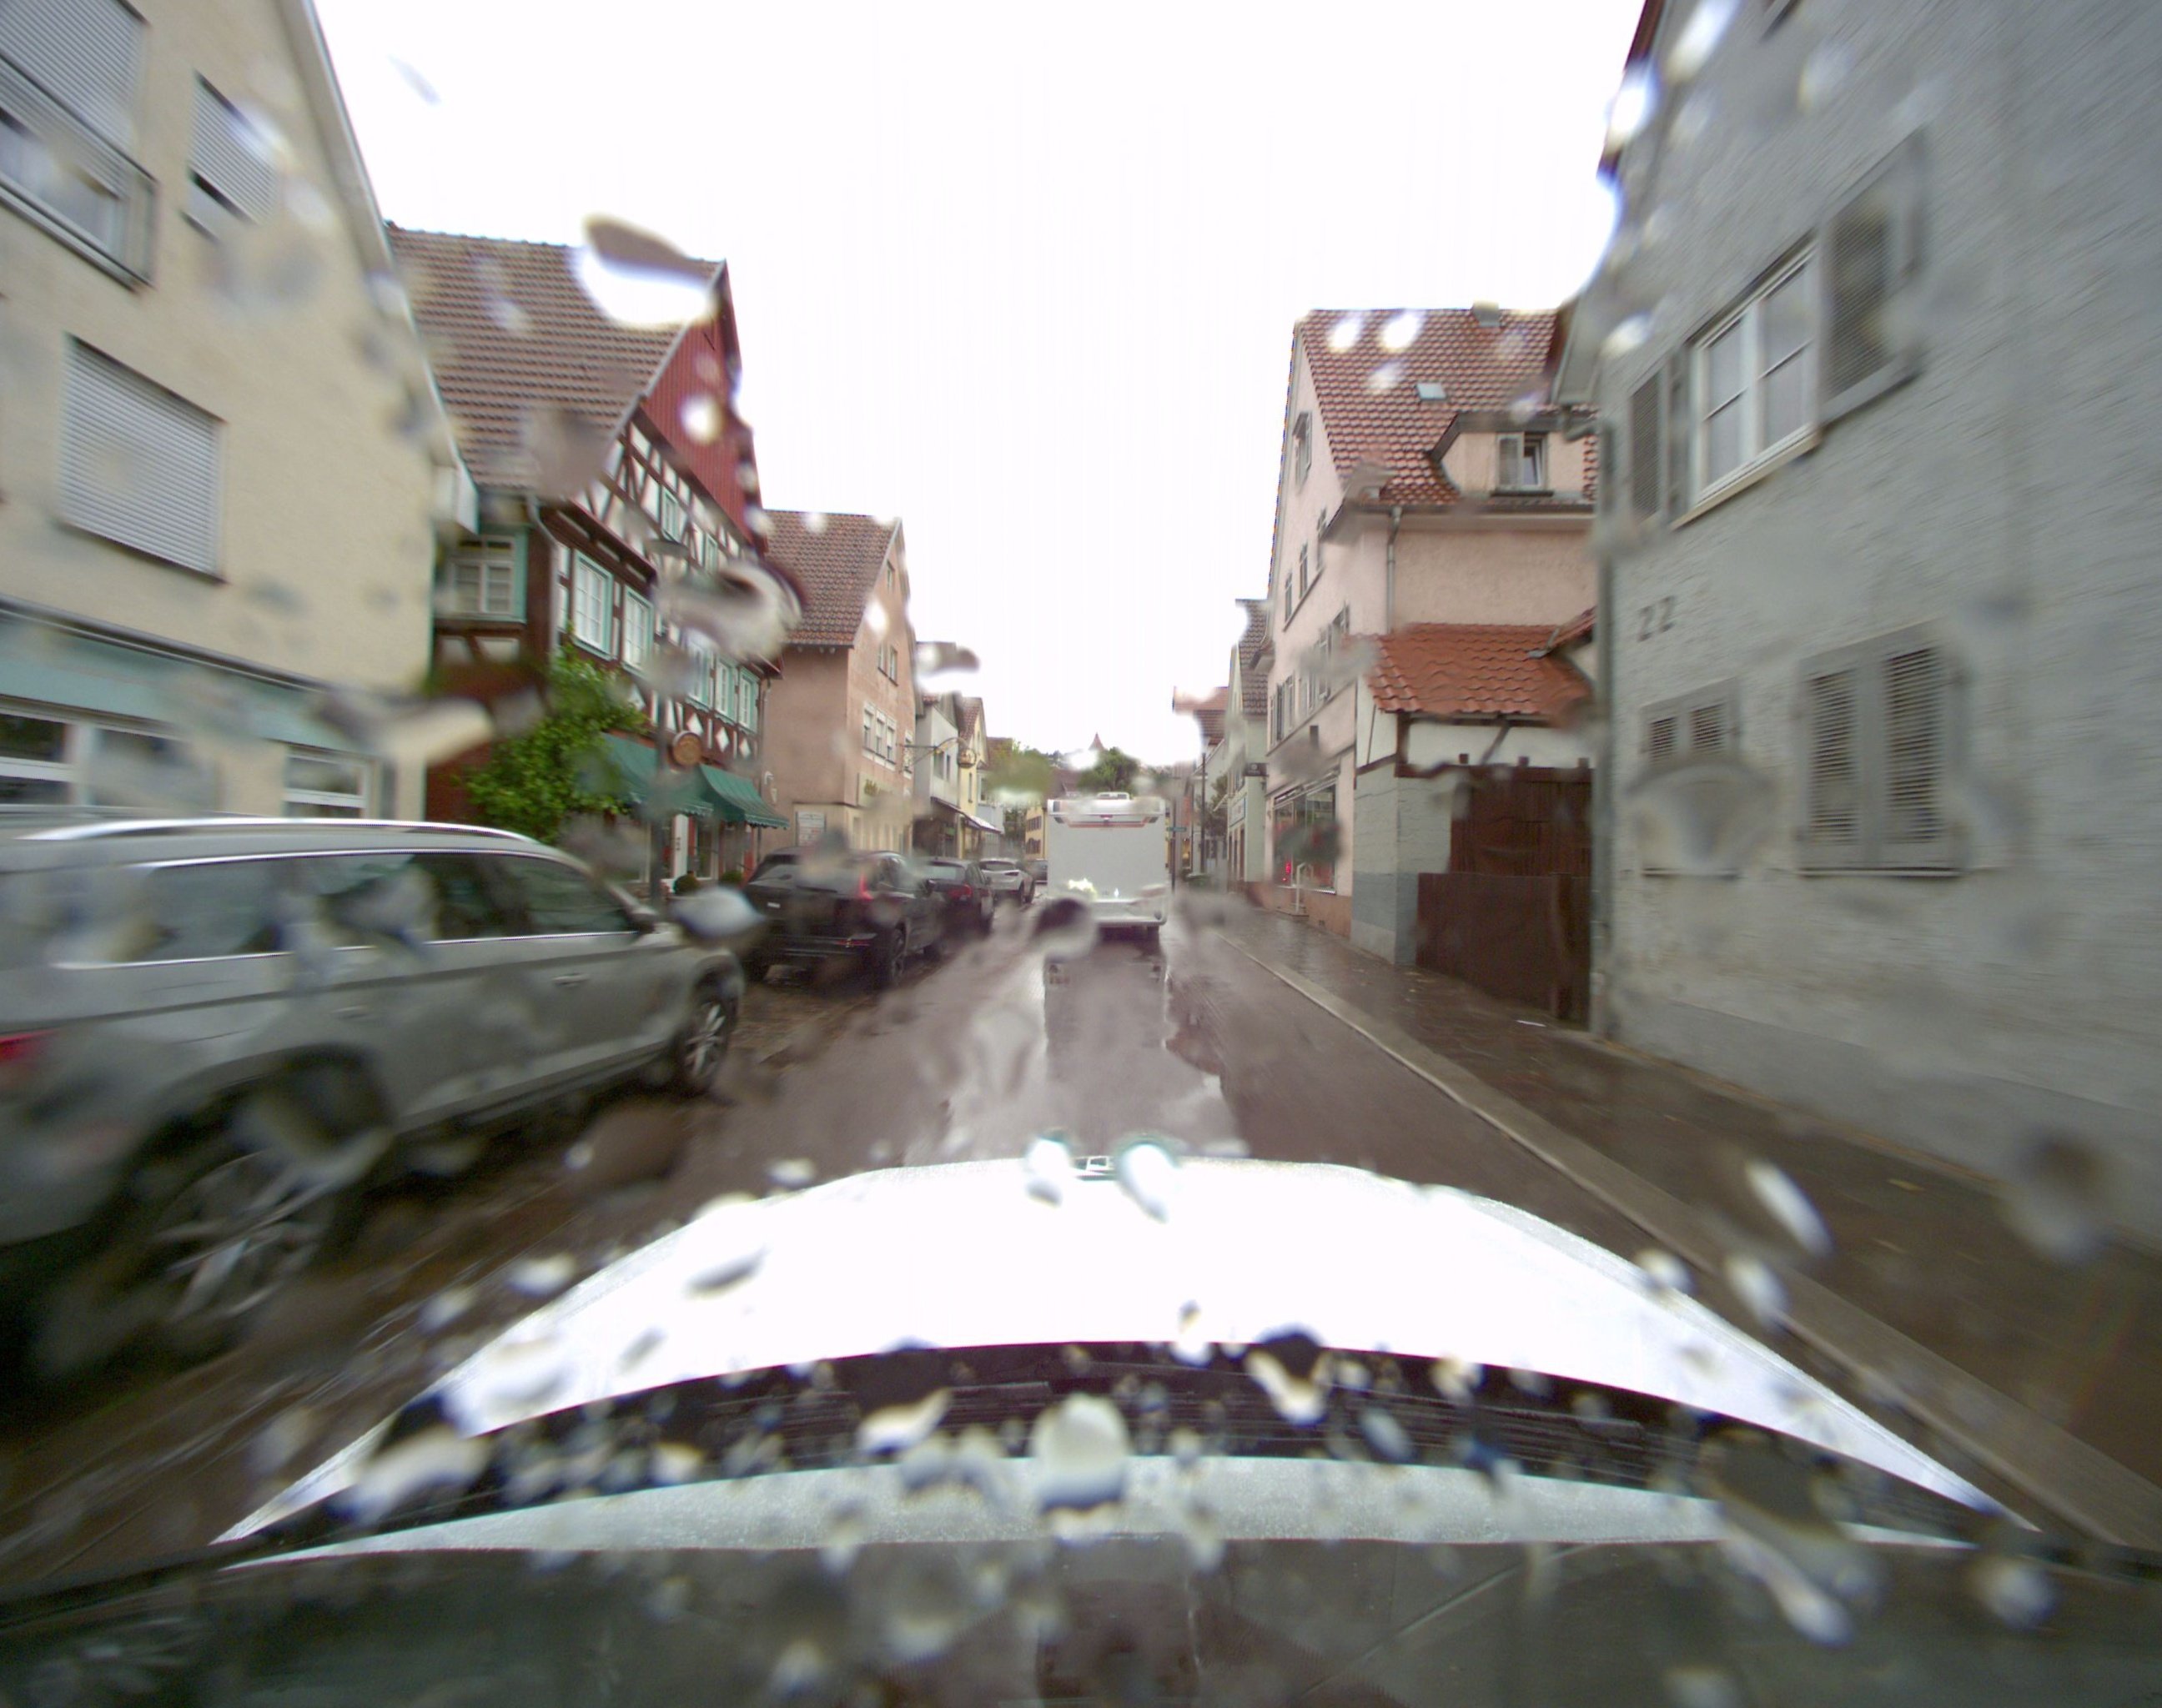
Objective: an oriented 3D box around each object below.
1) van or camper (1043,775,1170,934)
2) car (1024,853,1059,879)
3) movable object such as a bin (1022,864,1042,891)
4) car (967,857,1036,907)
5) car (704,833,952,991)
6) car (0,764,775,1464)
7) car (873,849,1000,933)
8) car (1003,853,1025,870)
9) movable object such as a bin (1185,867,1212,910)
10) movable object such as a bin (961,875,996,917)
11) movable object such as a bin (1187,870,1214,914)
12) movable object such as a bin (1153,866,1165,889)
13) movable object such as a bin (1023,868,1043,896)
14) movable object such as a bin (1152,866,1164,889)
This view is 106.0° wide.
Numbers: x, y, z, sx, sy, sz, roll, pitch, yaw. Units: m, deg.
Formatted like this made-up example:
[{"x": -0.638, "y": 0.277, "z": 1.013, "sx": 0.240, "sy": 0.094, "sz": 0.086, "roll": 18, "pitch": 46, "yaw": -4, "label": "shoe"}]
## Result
[{"x": 0.427, "y": 0.090, "z": 18.121, "sx": 2.319, "sy": 2.919, "sz": 6.389, "roll": 0, "pitch": -2, "yaw": -1, "label": "van or camper"}, {"x": -2.420, "y": 0.716, "z": 49.570, "sx": 1.989, "sy": 1.472, "sz": 3.995, "roll": 1, "pitch": 0, "yaw": -4, "label": "car"}, {"x": -2.121, "y": 1.018, "z": 35.257, "sx": 0.813, "sy": 1.106, "sz": 0.609, "roll": 3, "pitch": -2, "yaw": -3, "label": "movable object such as a bin"}, {"x": -2.630, "y": 0.927, "z": 27.708, "sx": 1.820, "sy": 1.566, "sz": 4.001, "roll": 0, "pitch": -2, "yaw": 1, "label": "car"}, {"x": -3.060, "y": 0.678, "z": 10.979, "sx": 1.827, "sy": 1.675, "sz": 4.540, "roll": 0, "pitch": -2, "yaw": 1, "label": "car"}, {"x": -3.335, "y": 0.649, "z": 3.881, "sx": 1.764, "sy": 1.675, "sz": 4.483, "roll": 2, "pitch": -1, "yaw": 3, "label": "car"}, {"x": -2.868, "y": 0.736, "z": 17.114, "sx": 1.827, "sy": 1.552, "sz": 4.282, "roll": 0, "pitch": -2, "yaw": 1, "label": "car"}, {"x": -8.553, "y": 0.997, "z": 103.141, "sx": 1.998, "sy": 2.014, "sz": 3.977, "roll": 1, "pitch": -2, "yaw": -16, "label": "car"}, {"x": 3.393, "y": 0.994, "z": 23.578, "sx": 0.715, "sy": 1.201, "sz": 0.579, "roll": 0, "pitch": -2, "yaw": 3, "label": "movable object such as a bin"}, {"x": -2.659, "y": 1.086, "z": 21.168, "sx": 0.744, "sy": 1.082, "sz": 0.764, "roll": 0, "pitch": -2, "yaw": 4, "label": "movable object such as a bin"}, {"x": 3.363, "y": 1.068, "z": 22.968, "sx": 0.715, "sy": 1.201, "sz": 0.573, "roll": 0, "pitch": -2, "yaw": 3, "label": "movable object such as a bin"}, {"x": 4.284, "y": 1.294, "z": 44.697, "sx": 0.656, "sy": 1.239, "sz": 0.621, "roll": 0, "pitch": -2, "yaw": 1, "label": "movable object such as a bin"}, {"x": -1.918, "y": 1.123, "z": 32.685, "sx": 0.813, "sy": 1.106, "sz": 0.609, "roll": 0, "pitch": -2, "yaw": -3, "label": "movable object such as a bin"}, {"x": 4.290, "y": 1.292, "z": 45.284, "sx": 0.656, "sy": 1.245, "sz": 0.543, "roll": 0, "pitch": -2, "yaw": 1, "label": "movable object such as a bin"}]
